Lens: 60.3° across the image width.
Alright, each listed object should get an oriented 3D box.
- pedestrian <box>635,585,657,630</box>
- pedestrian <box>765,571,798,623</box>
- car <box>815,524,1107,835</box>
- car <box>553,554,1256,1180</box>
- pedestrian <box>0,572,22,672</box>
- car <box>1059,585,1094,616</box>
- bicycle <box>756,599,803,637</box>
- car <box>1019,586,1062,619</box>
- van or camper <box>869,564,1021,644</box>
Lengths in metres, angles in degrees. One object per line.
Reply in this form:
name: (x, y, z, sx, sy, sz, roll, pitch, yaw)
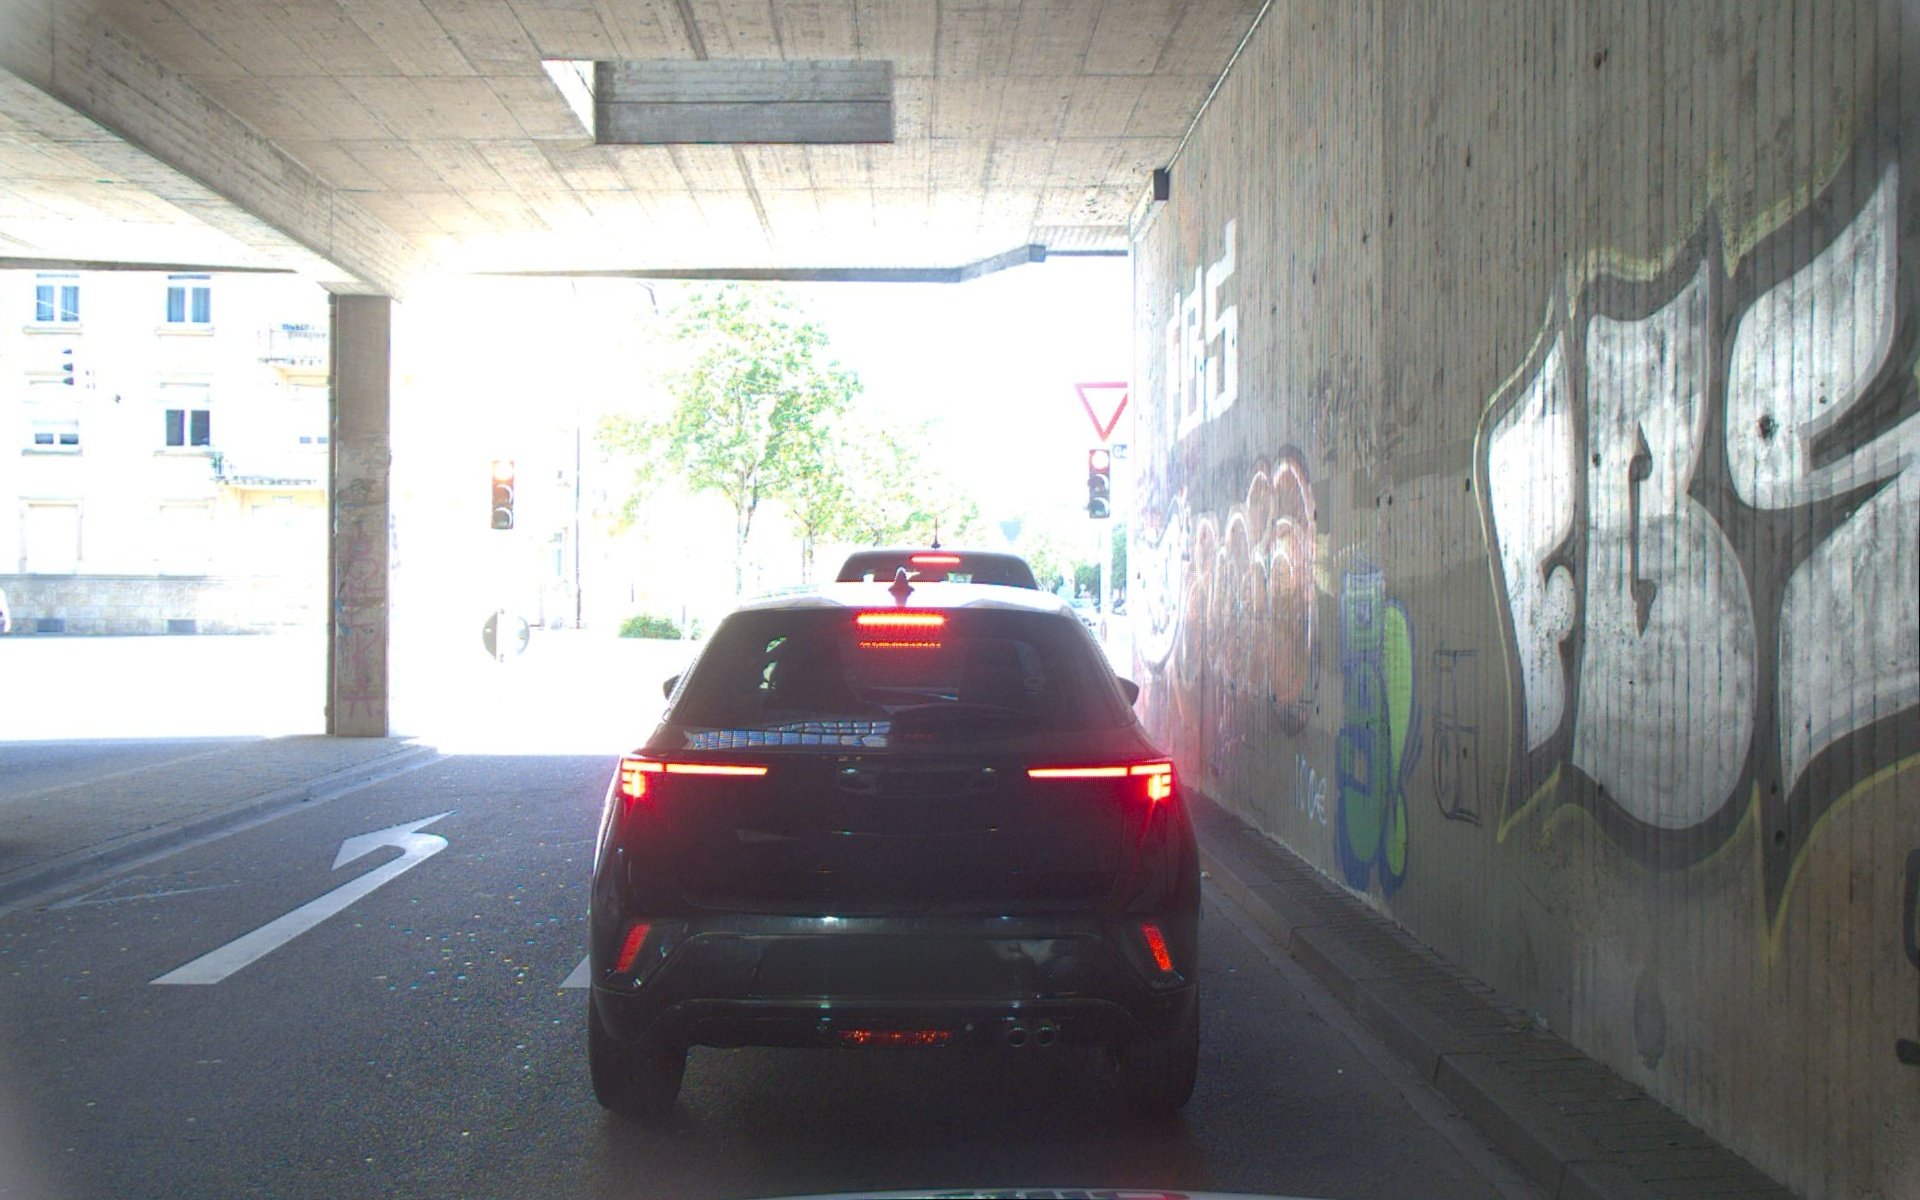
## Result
pedestrian: (-12.257, 0.303, 64.522, 0.609, 1.734, 0.724, 1, -1, 8)
pedestrian: (-5.543, -0.089, 51.318, 0.720, 1.612, 0.891, 1, -1, 15)
car: (-0.013, 0.474, 12.030, 1.749, 1.865, 3.960, 1, 0, -1)
car: (-0.151, 0.653, 6.105, 1.718, 1.525, 4.000, 1, 0, -1)
pedestrian: (-17.437, 0.386, 29.164, 1.088, 1.767, 1.143, 0, 0, 12)
car: (6.370, -0.003, 90.255, 1.550, 1.668, 3.809, 0, 0, 9)
bicycle: (-5.570, 0.556, 51.232, 0.721, 1.150, 2.027, 0, 0, 16)
car: (3.700, 0.116, 75.700, 1.564, 1.477, 3.798, 0, 0, 9)
van or camper: (-0.360, 0.088, 43.535, 3.795, 2.049, 2.002, 0, 0, 7)
